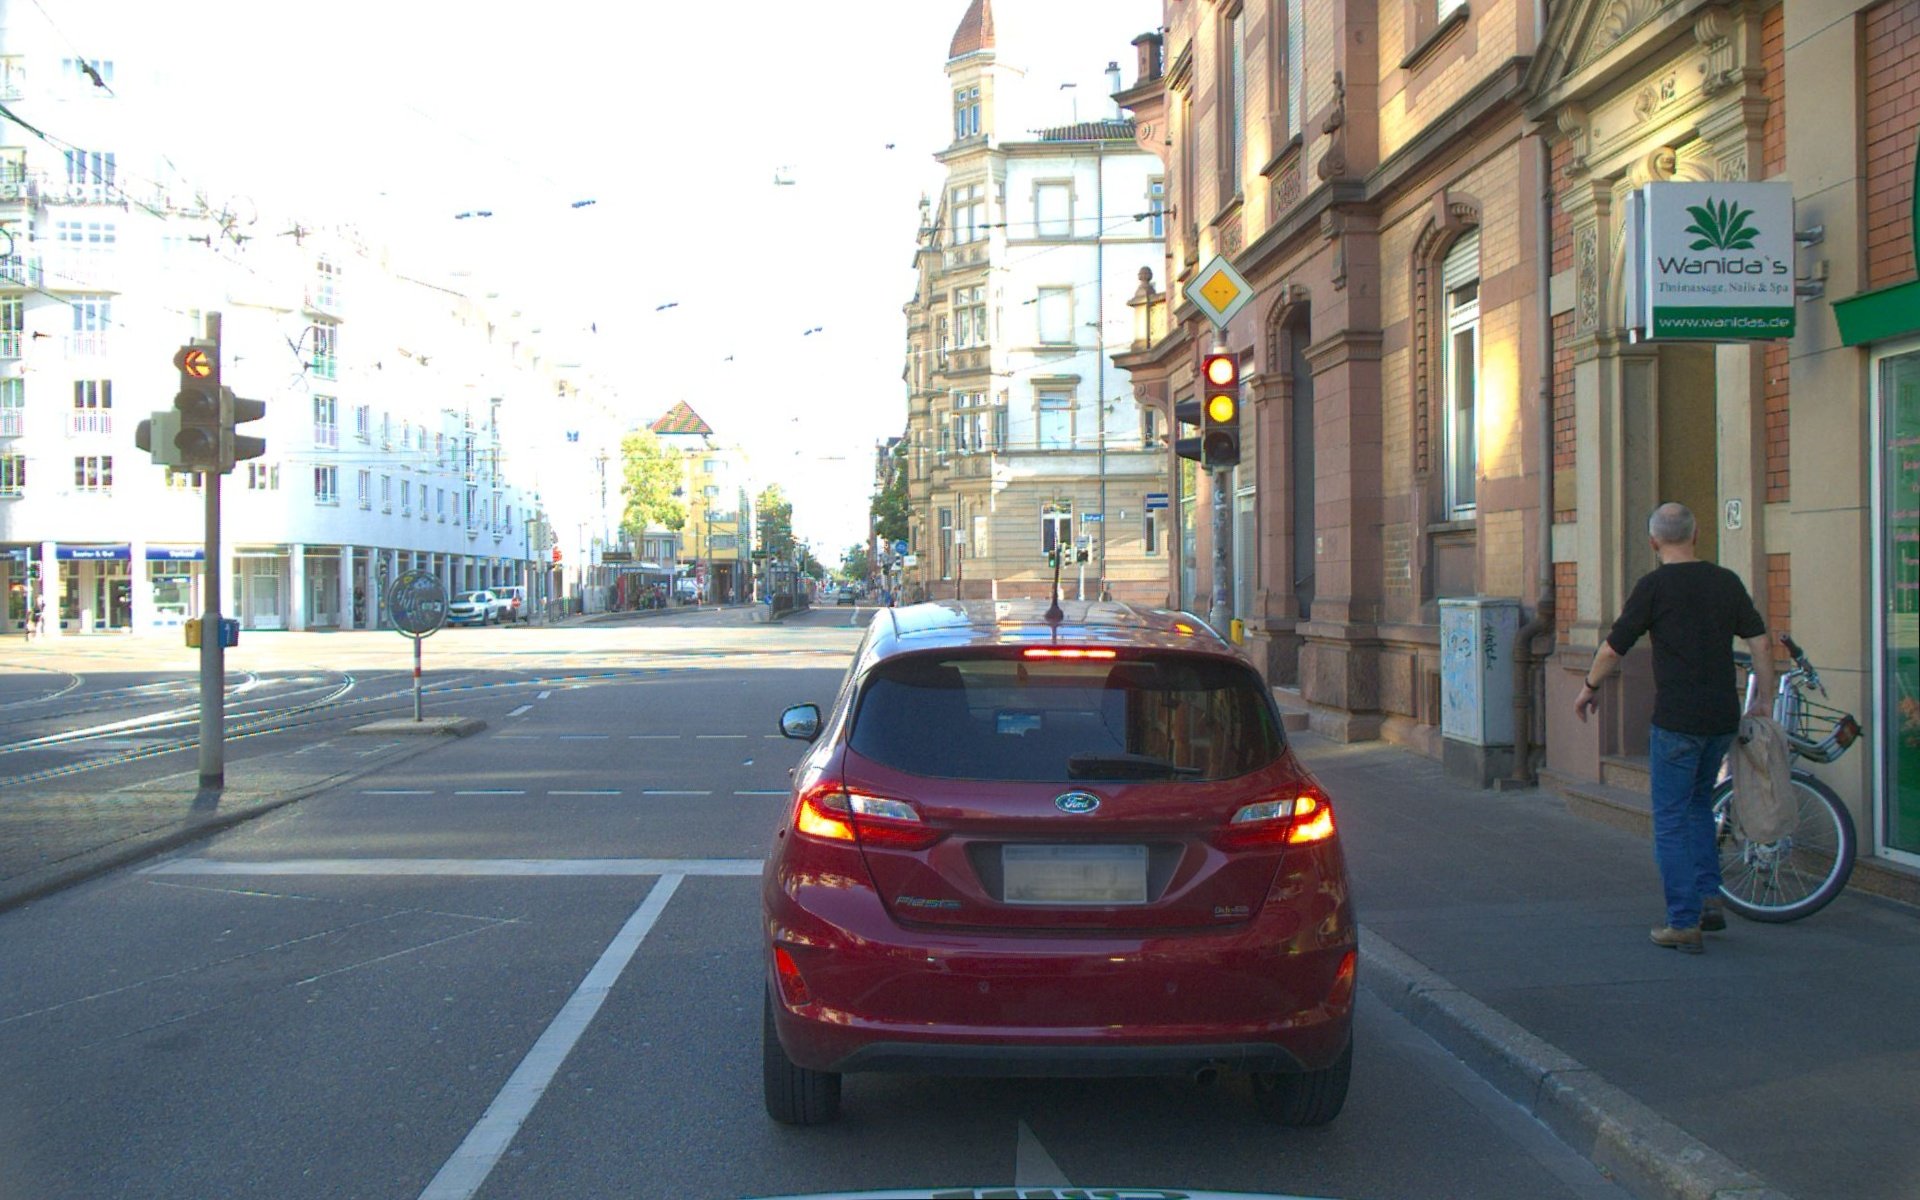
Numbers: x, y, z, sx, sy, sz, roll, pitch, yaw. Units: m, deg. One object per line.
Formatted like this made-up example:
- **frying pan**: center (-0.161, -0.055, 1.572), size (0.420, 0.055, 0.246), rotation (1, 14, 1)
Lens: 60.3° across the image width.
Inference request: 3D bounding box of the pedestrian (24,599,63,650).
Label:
- **pedestrian**: center (-31.426, 0.832, 56.701), size (0.850, 1.711, 0.697), rotation (-1, 2, 4)

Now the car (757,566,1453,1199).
- **car**: center (0.323, 0.681, 5.777), size (1.658, 1.521, 3.579), rotation (1, 0, -1)

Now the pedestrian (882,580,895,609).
- **pedestrian**: center (-4.687, -0.349, 107.827), size (0.700, 1.805, 0.772), rotation (-3, 1, -7)

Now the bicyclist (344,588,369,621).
- **bicyclist**: center (-27.310, 0.206, 74.882), size (0.824, 1.493, 0.896), rotation (-1, 0, -4)

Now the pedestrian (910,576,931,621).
- **pedestrian**: center (-1.695, -0.079, 70.219), size (0.785, 1.855, 0.797), rotation (-2, 1, -4)

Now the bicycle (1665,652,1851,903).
- **bicycle**: center (3.682, 0.782, 7.707), size (0.337, 1.013, 1.241), rotation (-2, 0, 5)

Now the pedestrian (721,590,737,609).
- **pedestrian**: center (-23.805, -0.084, 170.320), size (1.324, 1.938, 1.465), rotation (0, 0, -20)

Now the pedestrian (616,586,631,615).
- **pedestrian**: center (-19.590, 0.035, 96.238), size (0.687, 1.721, 0.666), rotation (0, 0, -28)

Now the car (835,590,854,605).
- **car**: center (-12.002, -0.285, 171.342), size (1.954, 1.475, 3.997), rotation (0, 0, -4)

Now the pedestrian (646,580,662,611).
- **pedestrian**: center (-18.955, -0.284, 102.516), size (0.914, 1.938, 0.880), rotation (0, 0, -7)

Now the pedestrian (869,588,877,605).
- **pedestrian**: center (-8.986, -0.355, 171.198), size (0.735, 1.690, 0.650), rotation (1, -1, -1)

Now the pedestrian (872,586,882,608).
- **pedestrian**: center (-7.104, -0.249, 141.231), size (0.700, 1.805, 0.772), rotation (-3, 1, -7)

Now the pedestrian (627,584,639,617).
- **pedestrian**: center (-19.831, 0.028, 100.334), size (0.682, 1.938, 0.671), rotation (0, 0, -7)

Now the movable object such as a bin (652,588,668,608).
- **movable object such as a bin**: center (-19.750, -0.155, 108.933), size (0.919, 1.309, 0.933), rotation (0, 0, -6)

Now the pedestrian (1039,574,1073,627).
- **pedestrian**: center (3.363, 0.015, 58.199), size (1.003, 1.838, 1.081), rotation (-1, 0, -7)

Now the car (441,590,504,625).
- **car**: center (-23.534, 0.339, 80.001), size (1.954, 1.648, 4.506), rotation (-1, 0, -4)

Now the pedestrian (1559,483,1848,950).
- **pedestrian**: center (2.982, 0.440, 6.700), size (0.760, 1.753, 0.754), rotation (-2, 0, -4)

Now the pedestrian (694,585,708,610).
- **pedestrian**: center (-20.510, -0.190, 130.937), size (0.865, 1.938, 0.929), rotation (0, 0, -20)

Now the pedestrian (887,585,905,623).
- **pedestrian**: center (-2.953, 0.193, 76.530), size (0.703, 1.751, 0.795), rotation (-2, -1, -6)

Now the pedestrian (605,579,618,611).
- **pedestrian**: center (-18.977, -0.288, 90.156), size (0.587, 1.721, 0.613), rotation (0, 0, -4)

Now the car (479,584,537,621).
- **car**: center (-23.989, 0.098, 87.945), size (1.954, 1.869, 5.342), rotation (-1, 0, -4)

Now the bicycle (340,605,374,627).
- **bicycle**: center (-27.303, 0.718, 74.872), size (0.824, 0.943, 2.263), rotation (-1, 1, -4)

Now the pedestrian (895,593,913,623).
- **pedestrian**: center (-2.572, 0.371, 75.635), size (0.703, 1.354, 0.795), rotation (-2, -1, -6)
